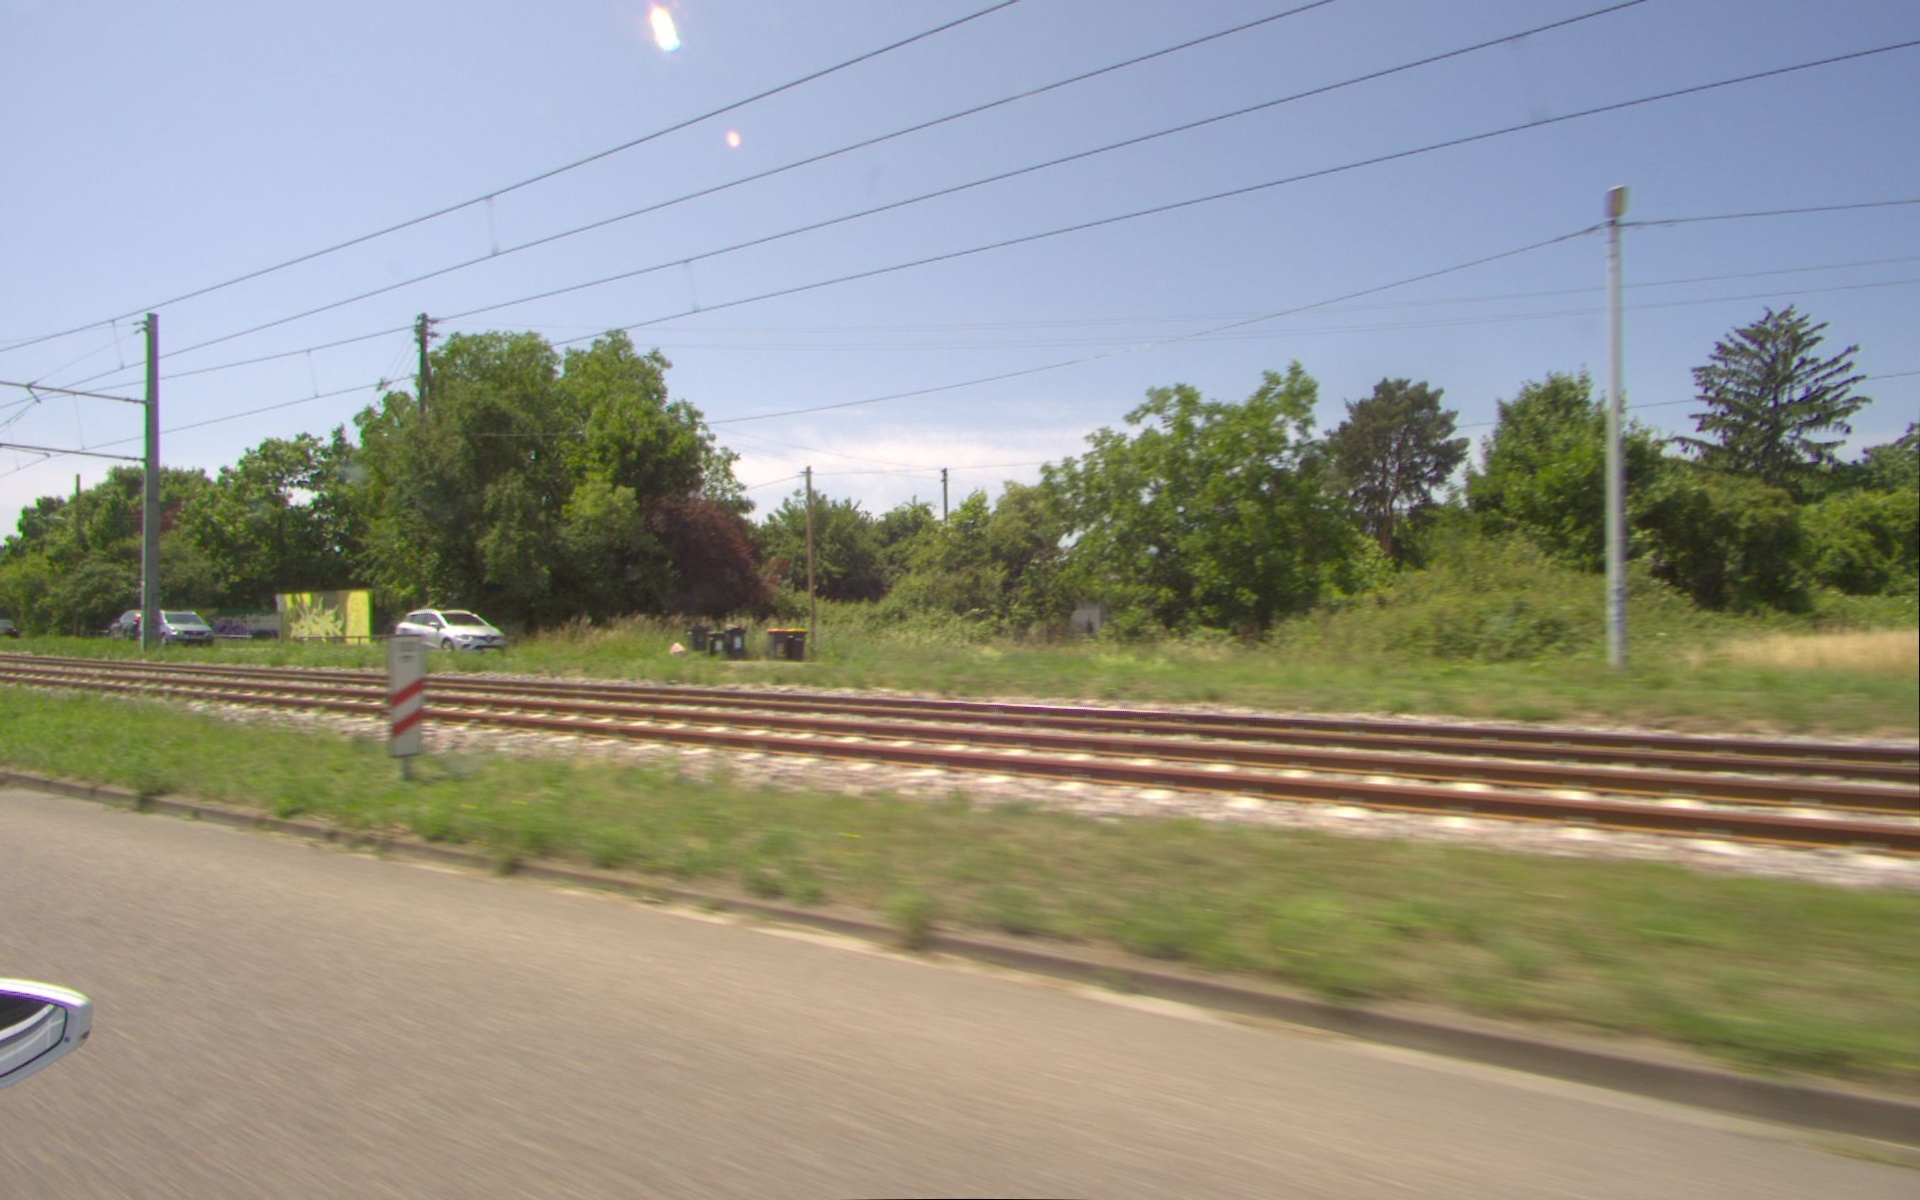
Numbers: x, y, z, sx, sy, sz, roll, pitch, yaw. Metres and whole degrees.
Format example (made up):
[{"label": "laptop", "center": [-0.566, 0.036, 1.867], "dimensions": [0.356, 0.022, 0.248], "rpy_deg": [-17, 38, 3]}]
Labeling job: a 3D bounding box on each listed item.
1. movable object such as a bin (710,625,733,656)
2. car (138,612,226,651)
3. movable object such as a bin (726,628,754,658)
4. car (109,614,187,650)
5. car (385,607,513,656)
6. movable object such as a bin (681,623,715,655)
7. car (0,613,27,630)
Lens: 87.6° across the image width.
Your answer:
[{"label": "movable object such as a bin", "center": [-7.444, 1.259, 31.272], "dimensions": [0.443, 0.946, 0.798], "rpy_deg": [0, -2, -35]}, {"label": "car", "center": [-34.378, 1.414, 44.214], "dimensions": [4.647, 1.645, 1.673], "rpy_deg": [-2, -2, 34]}, {"label": "movable object such as a bin", "center": [-6.961, 1.354, 31.694], "dimensions": [0.578, 0.946, 0.823], "rpy_deg": [0, -2, -35]}, {"label": "car", "center": [-39.325, 1.561, 48.438], "dimensions": [4.754, 1.677, 1.822], "rpy_deg": [-2, -2, 37]}, {"label": "car", "center": [-16.085, 1.016, 31.432], "dimensions": [4.489, 1.432, 1.676], "rpy_deg": [-2, -2, 35]}, {"label": "movable object such as a bin", "center": [-7.924, 1.165, 30.276], "dimensions": [0.793, 0.946, 0.775], "rpy_deg": [0, -2, -35]}, {"label": "car", "center": [-70.345, 1.595, 73.798], "dimensions": [3.620, 1.185, 1.640], "rpy_deg": [-2, -2, 35]}]
